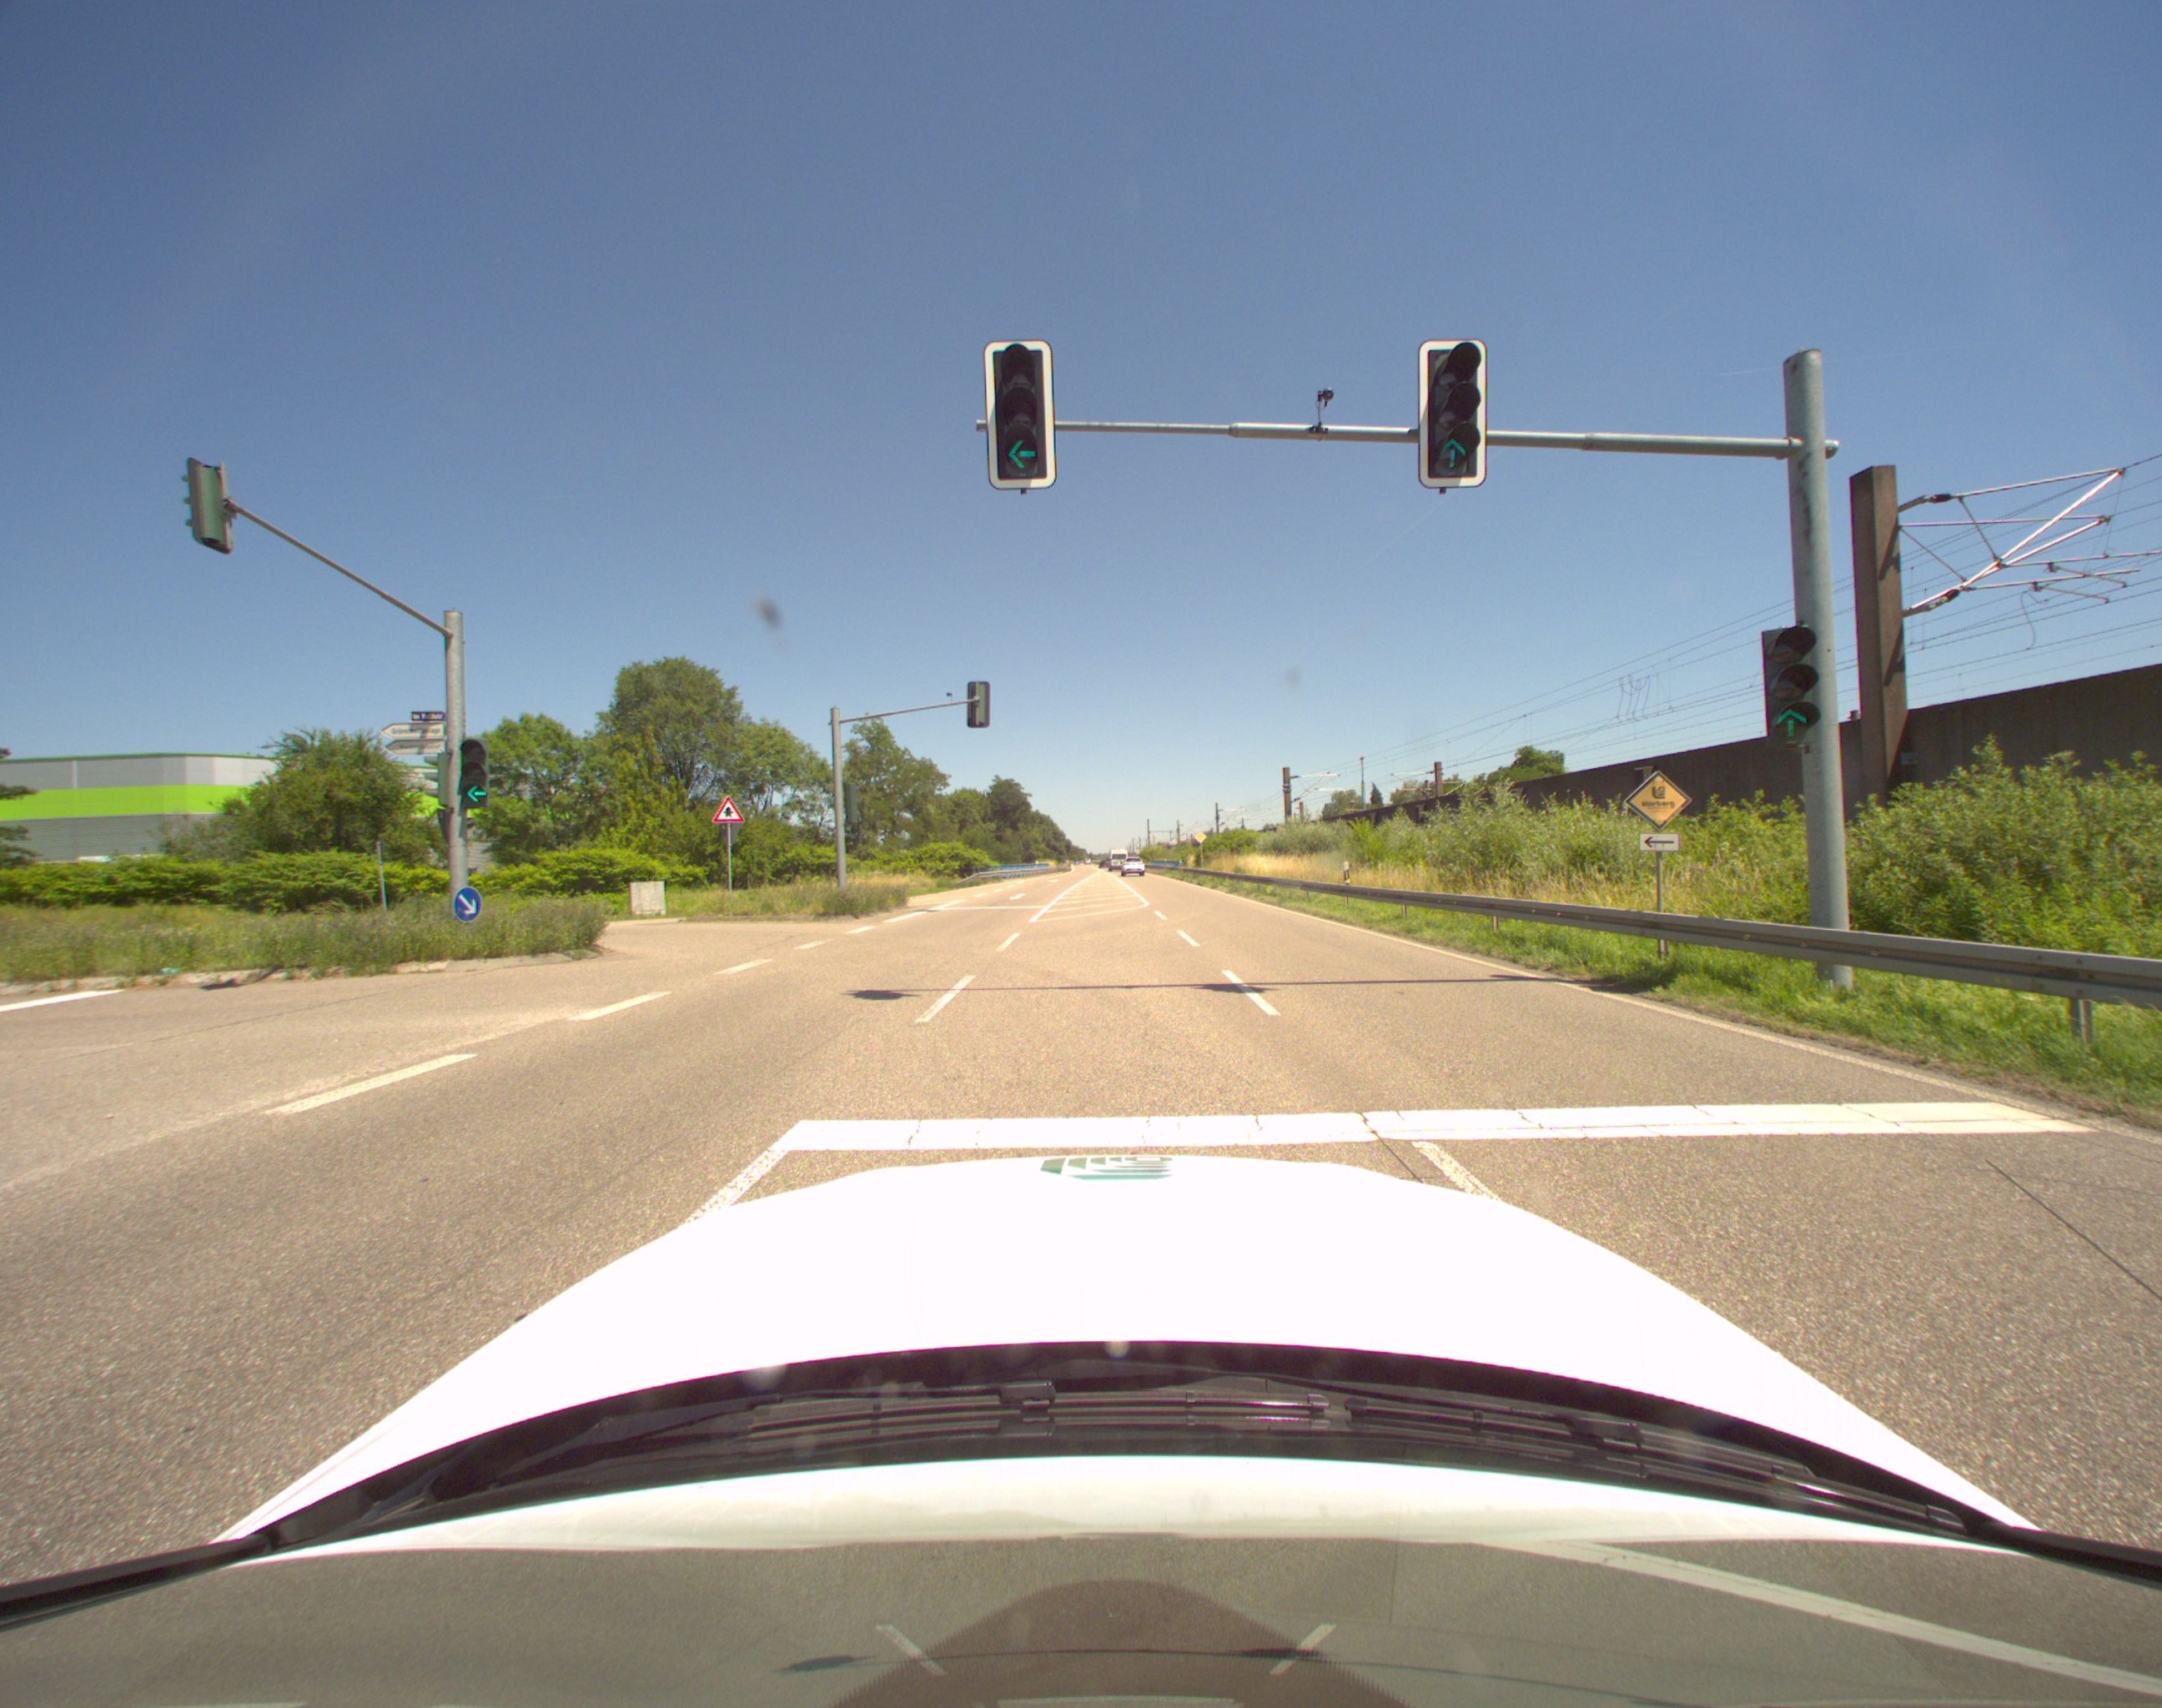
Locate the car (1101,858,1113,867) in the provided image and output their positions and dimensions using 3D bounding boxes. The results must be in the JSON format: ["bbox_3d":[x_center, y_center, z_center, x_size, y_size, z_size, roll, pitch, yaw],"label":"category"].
[{"bbox_3d":[4.196,1.423,133.666,1.850,1.379,4.503,-1,0,0],"label":"car"}]

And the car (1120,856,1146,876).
[{"bbox_3d":[4.264,0.994,67.080,1.812,1.564,4.276,-1,0,-1],"label":"car"}]

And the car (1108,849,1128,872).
[{"bbox_3d":[4.358,0.712,96.502,2.180,2.604,6.752,-1,0,1],"label":"car"}]
